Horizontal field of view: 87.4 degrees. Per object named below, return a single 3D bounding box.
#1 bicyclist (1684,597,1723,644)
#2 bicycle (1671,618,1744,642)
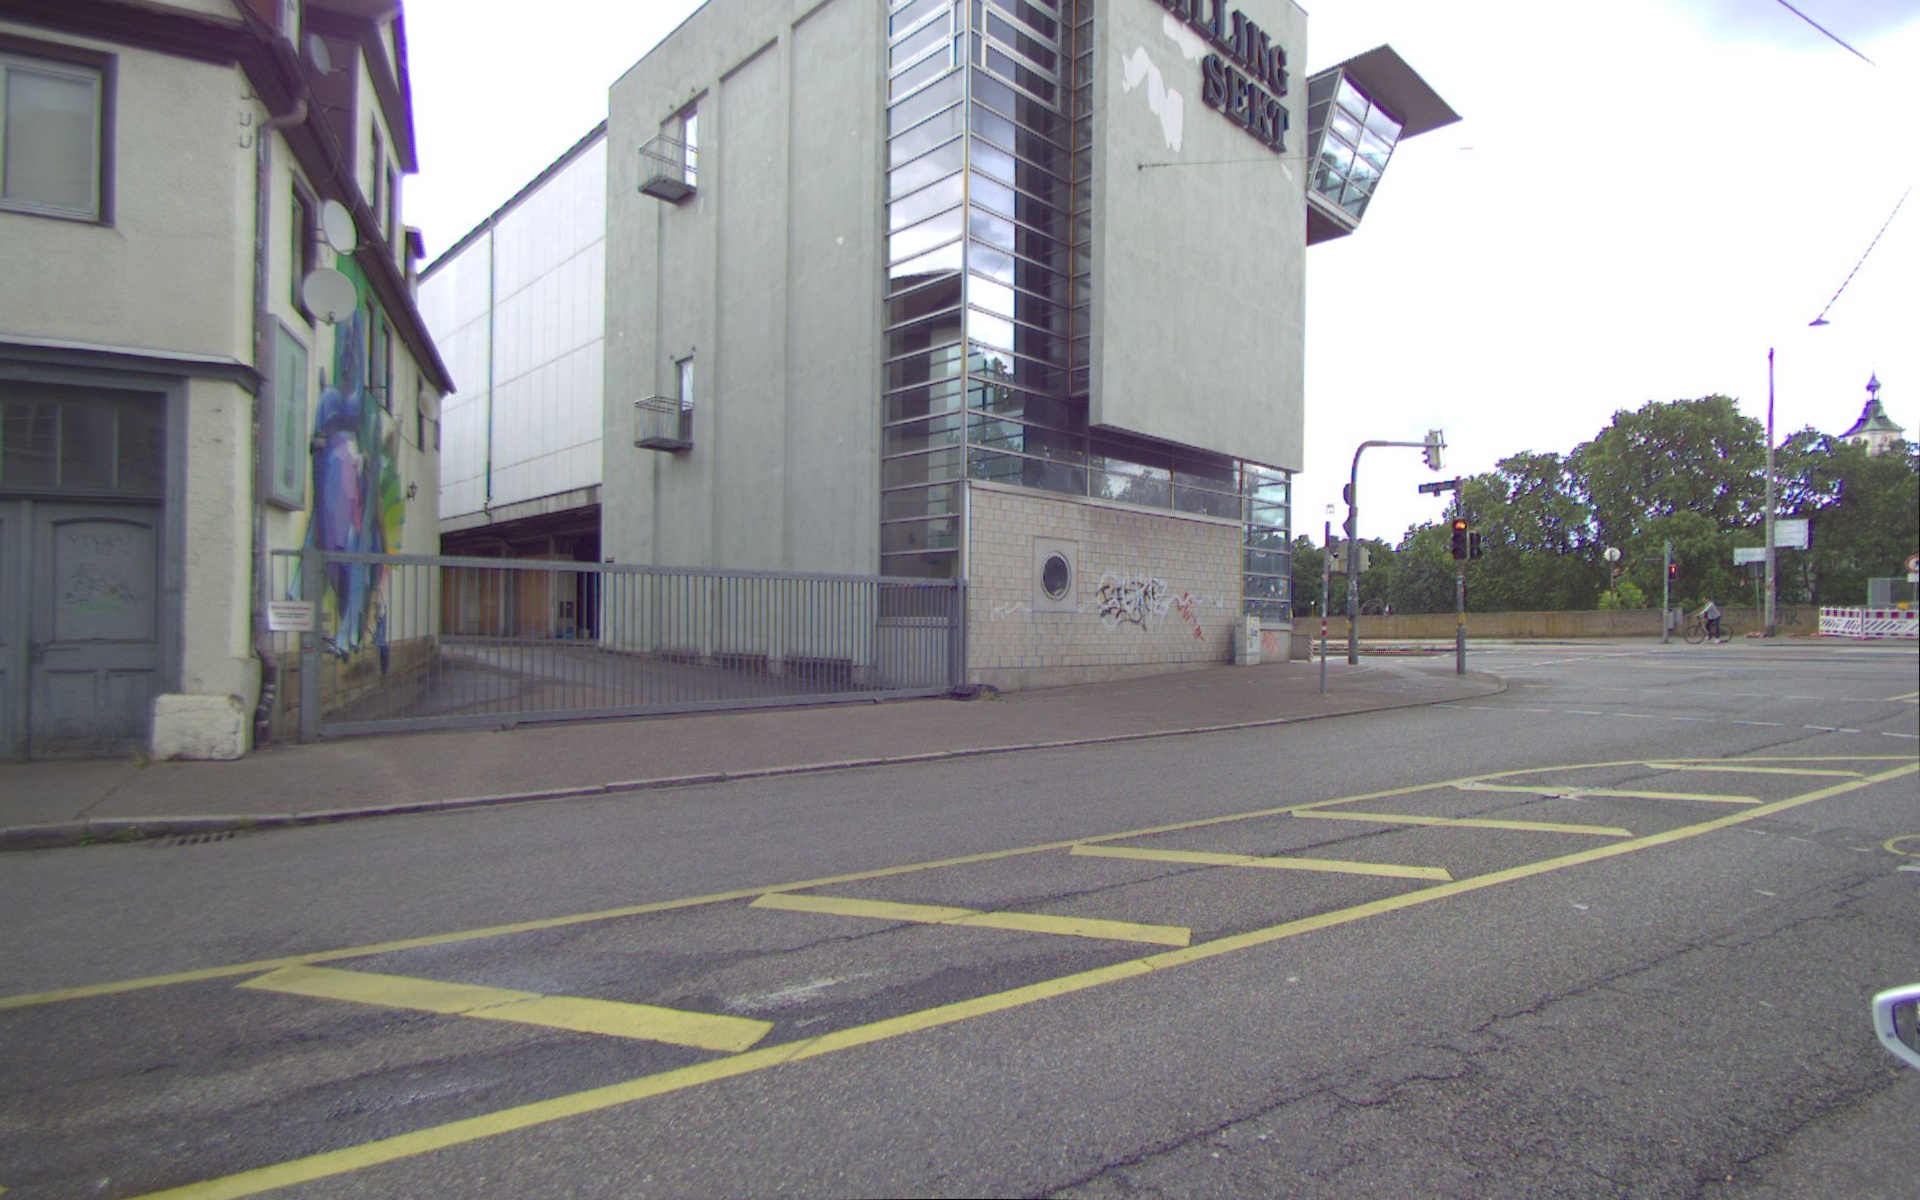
[{"bbox_3d":[28.647,0.782,38.716,0.985,1.767,0.755,0,0,19],"label":"bicyclist"},{"bbox_3d":[28.762,1.151,38.681,2.095,0.904,0.760,-1,0,17],"label":"bicycle"}]
